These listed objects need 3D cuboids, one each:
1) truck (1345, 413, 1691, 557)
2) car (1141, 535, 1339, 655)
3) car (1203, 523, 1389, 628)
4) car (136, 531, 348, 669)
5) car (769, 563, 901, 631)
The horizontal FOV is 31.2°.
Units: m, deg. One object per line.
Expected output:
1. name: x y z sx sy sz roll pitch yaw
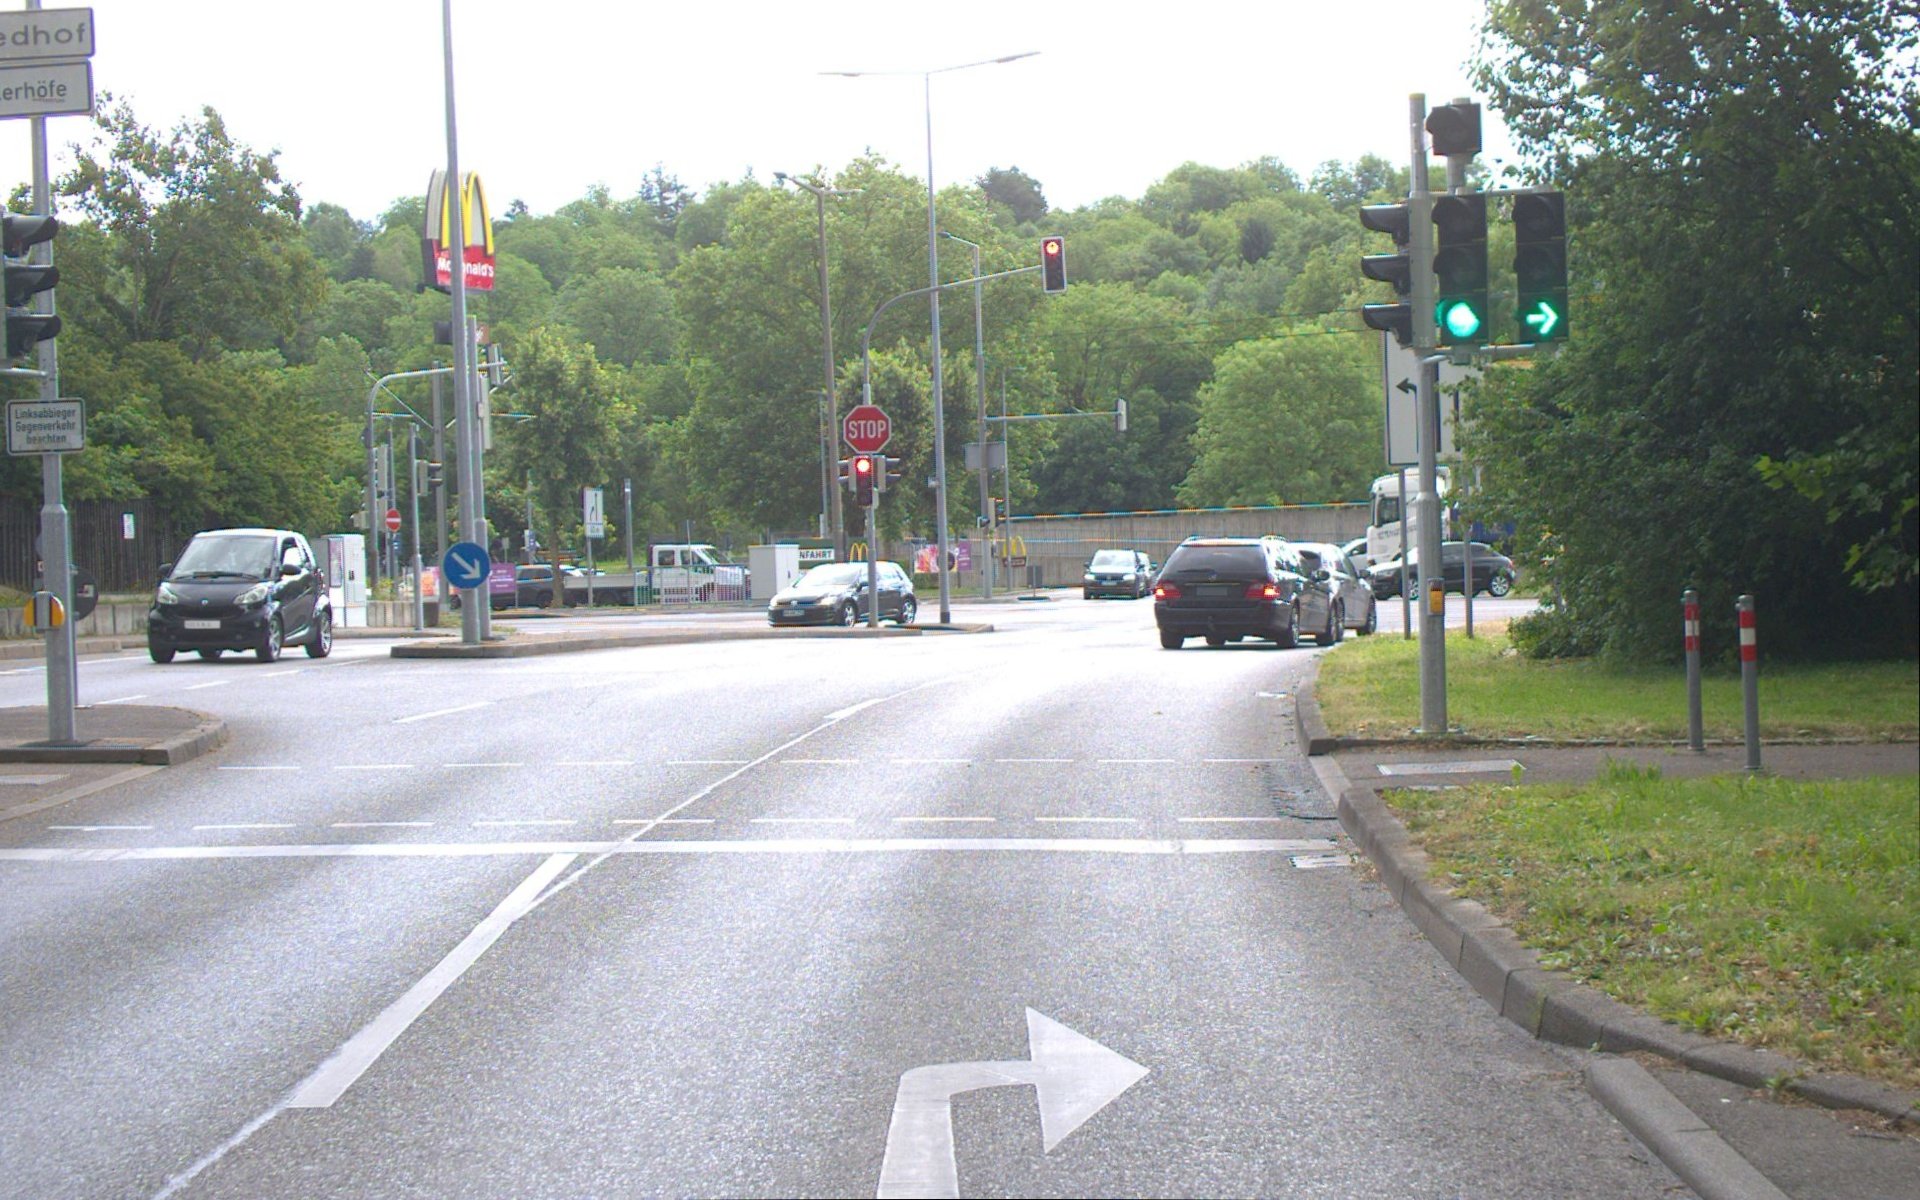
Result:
1. truck: 15.903 -3.205 98.110 9.111 3.575 3.215 -2 0 24
2. car: 3.853 -0.095 46.692 1.823 1.504 4.571 -1 1 15
3. car: 5.268 -0.396 53.457 1.729 1.525 4.144 -2 0 22
4. car: -8.479 -0.033 40.824 1.569 1.522 3.189 0 2 5
5. car: -2.636 -0.079 73.335 1.678 1.361 4.308 -1 1 14
